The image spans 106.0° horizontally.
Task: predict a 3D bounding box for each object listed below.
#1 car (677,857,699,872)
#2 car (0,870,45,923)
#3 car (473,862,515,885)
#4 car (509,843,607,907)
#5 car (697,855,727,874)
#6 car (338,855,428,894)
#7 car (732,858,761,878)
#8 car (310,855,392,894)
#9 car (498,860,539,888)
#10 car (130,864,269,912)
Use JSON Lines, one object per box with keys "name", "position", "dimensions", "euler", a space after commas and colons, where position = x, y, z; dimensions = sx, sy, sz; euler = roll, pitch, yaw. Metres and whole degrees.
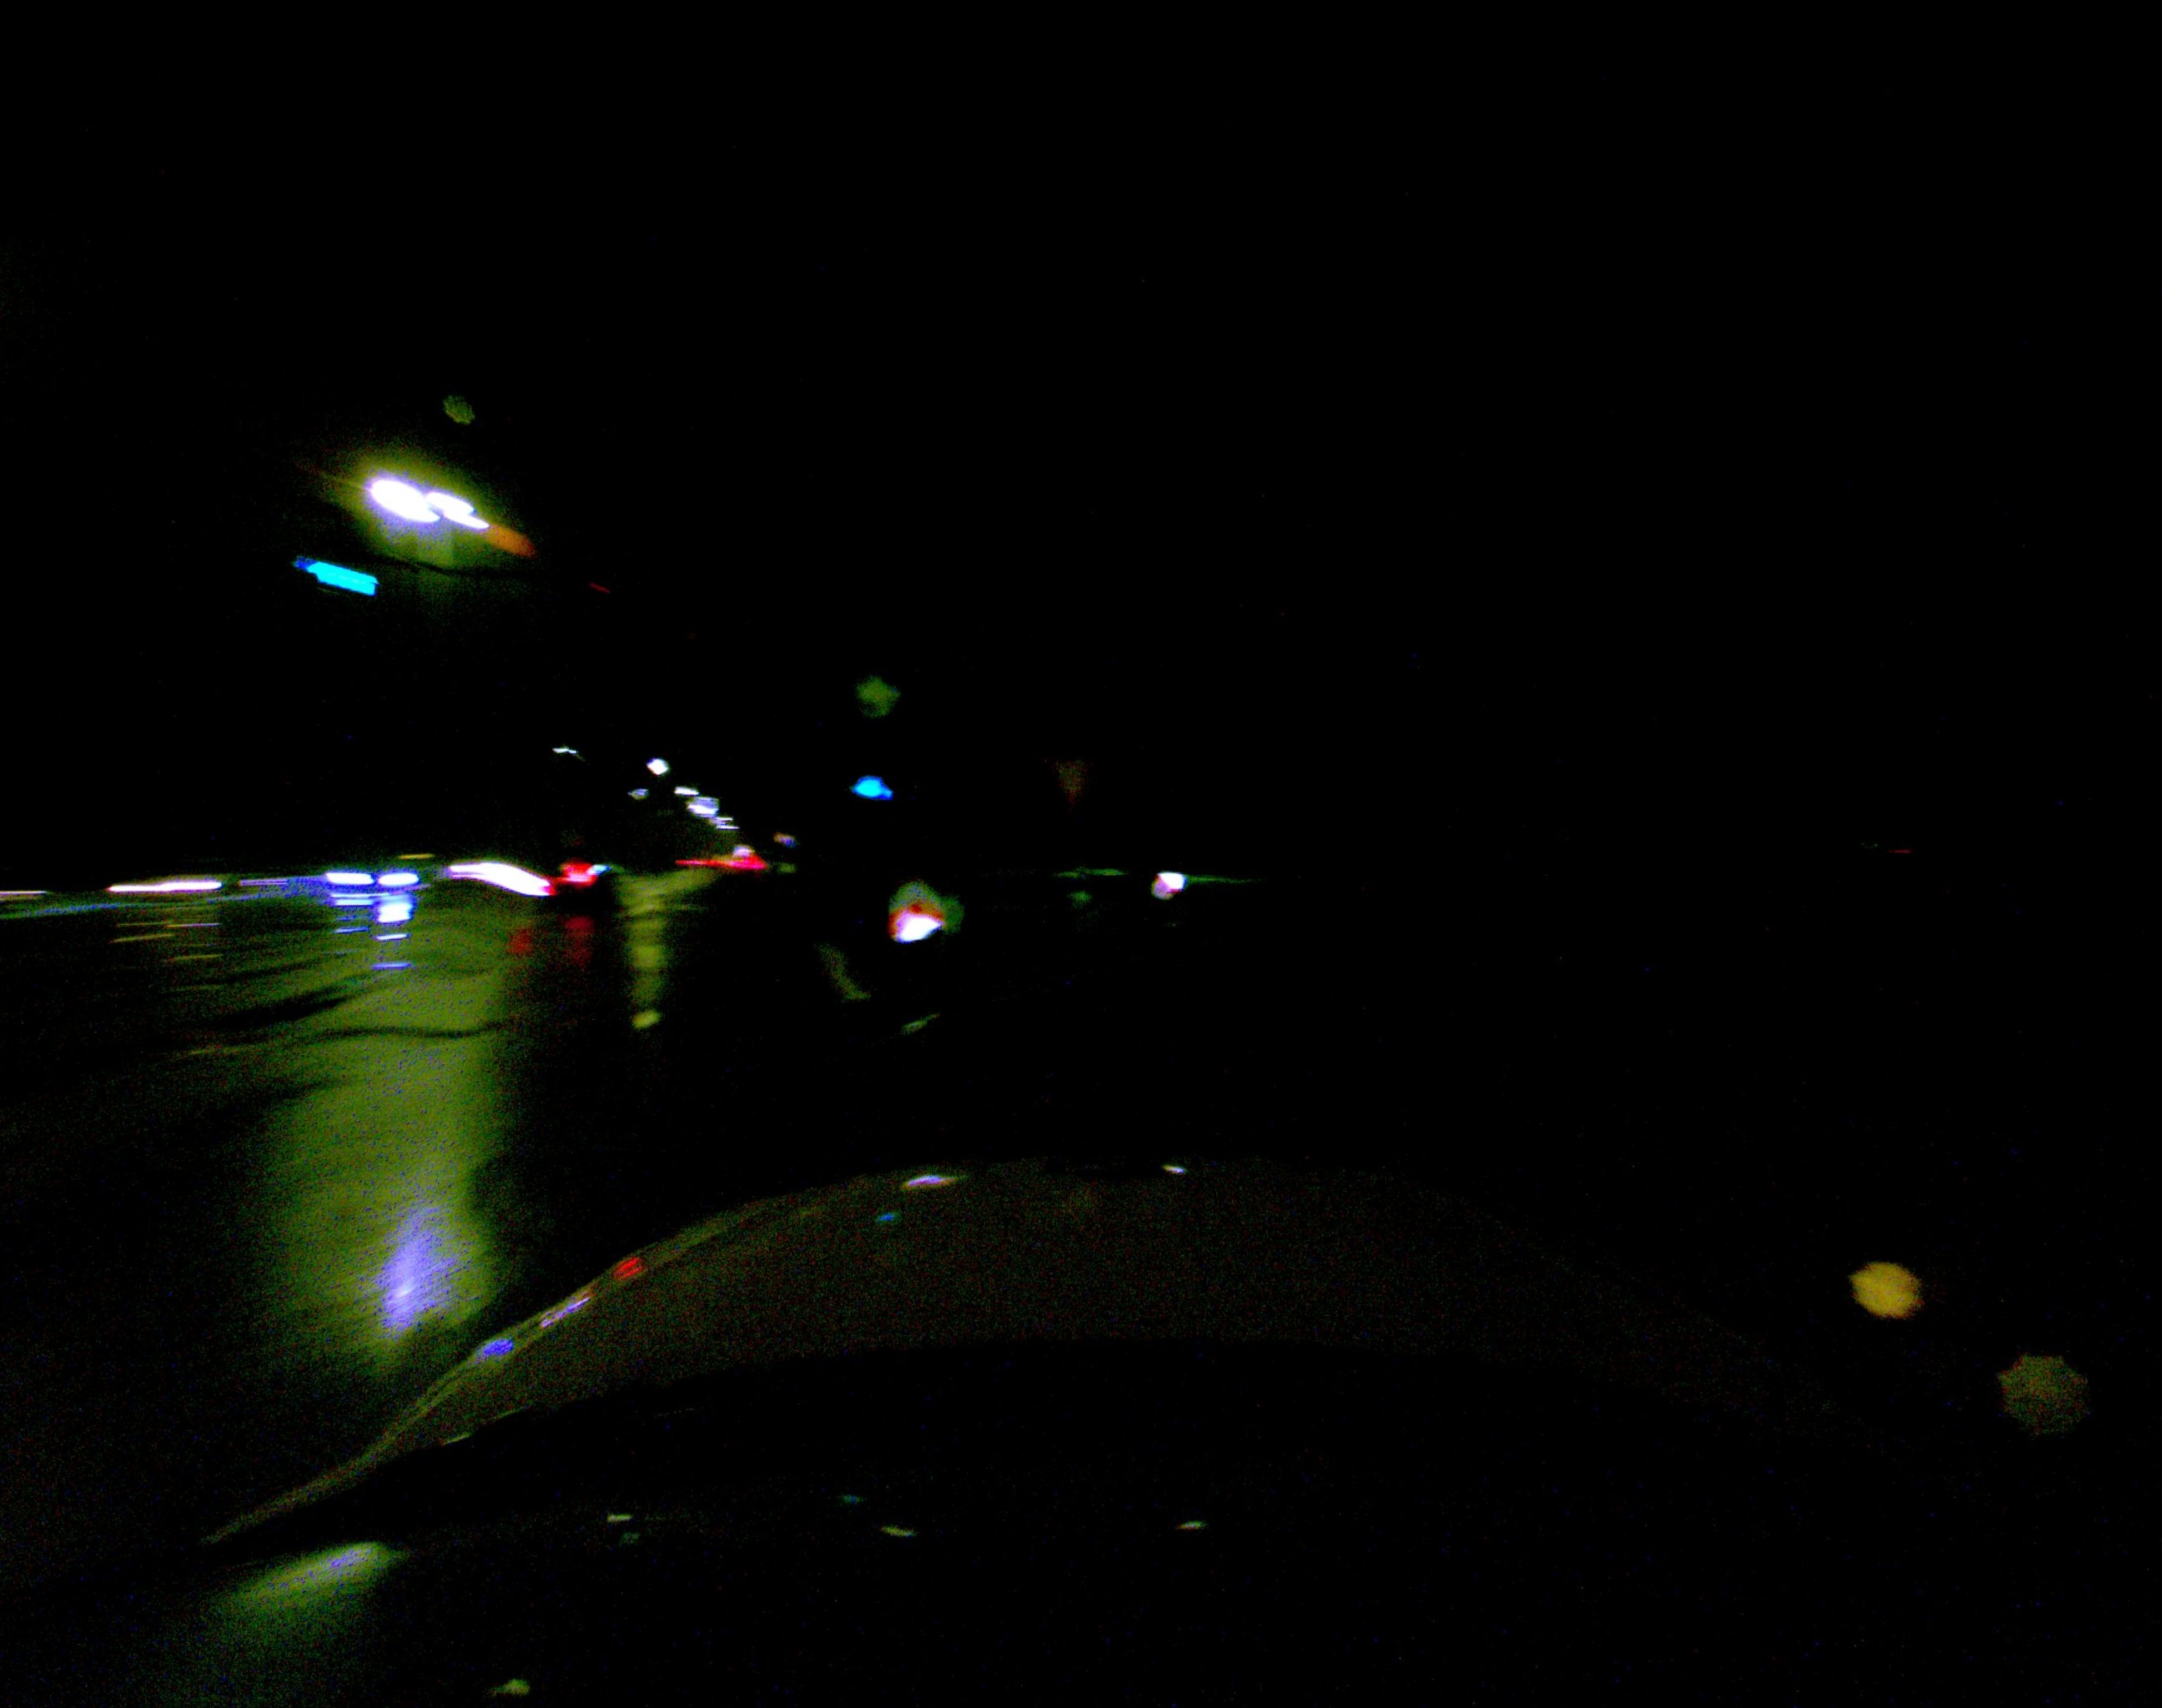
{"name": "car", "position": [-45.867, 1.250, 95.111], "dimensions": [2.188, 1.602, 3.966], "euler": [4, -4, -25]}
{"name": "car", "position": [-30.701, 1.188, 21.785], "dimensions": [1.855, 1.456, 4.067], "euler": [0, -1, -21]}
{"name": "car", "position": [-48.056, 1.569, 66.703], "dimensions": [1.755, 1.840, 3.988], "euler": [0, 0, -20]}
{"name": "car", "position": [-14.706, 0.550, 23.114], "dimensions": [1.806, 1.452, 4.231], "euler": [7, -2, -27]}
{"name": "car", "position": [-35.705, 1.013, 78.877], "dimensions": [2.185, 1.602, 3.972], "euler": [4, -4, -20]}
{"name": "car", "position": [-27.485, 0.771, 32.205], "dimensions": [1.595, 1.427, 3.328], "euler": [0, 0, -20]}
{"name": "car", "position": [-30.265, 1.306, 73.733], "dimensions": [1.914, 1.602, 3.976], "euler": [4, -4, -17]}
{"name": "car", "position": [-41.029, 1.109, 45.925], "dimensions": [1.894, 2.017, 4.325], "euler": [0, 0, -19]}
{"name": "car", "position": [-43.157, 1.532, 62.571], "dimensions": [1.594, 2.013, 3.768], "euler": [0, 0, -19]}
{"name": "car", "position": [-29.770, 1.092, 27.667], "dimensions": [1.671, 1.448, 3.793], "euler": [0, 0, -21]}
